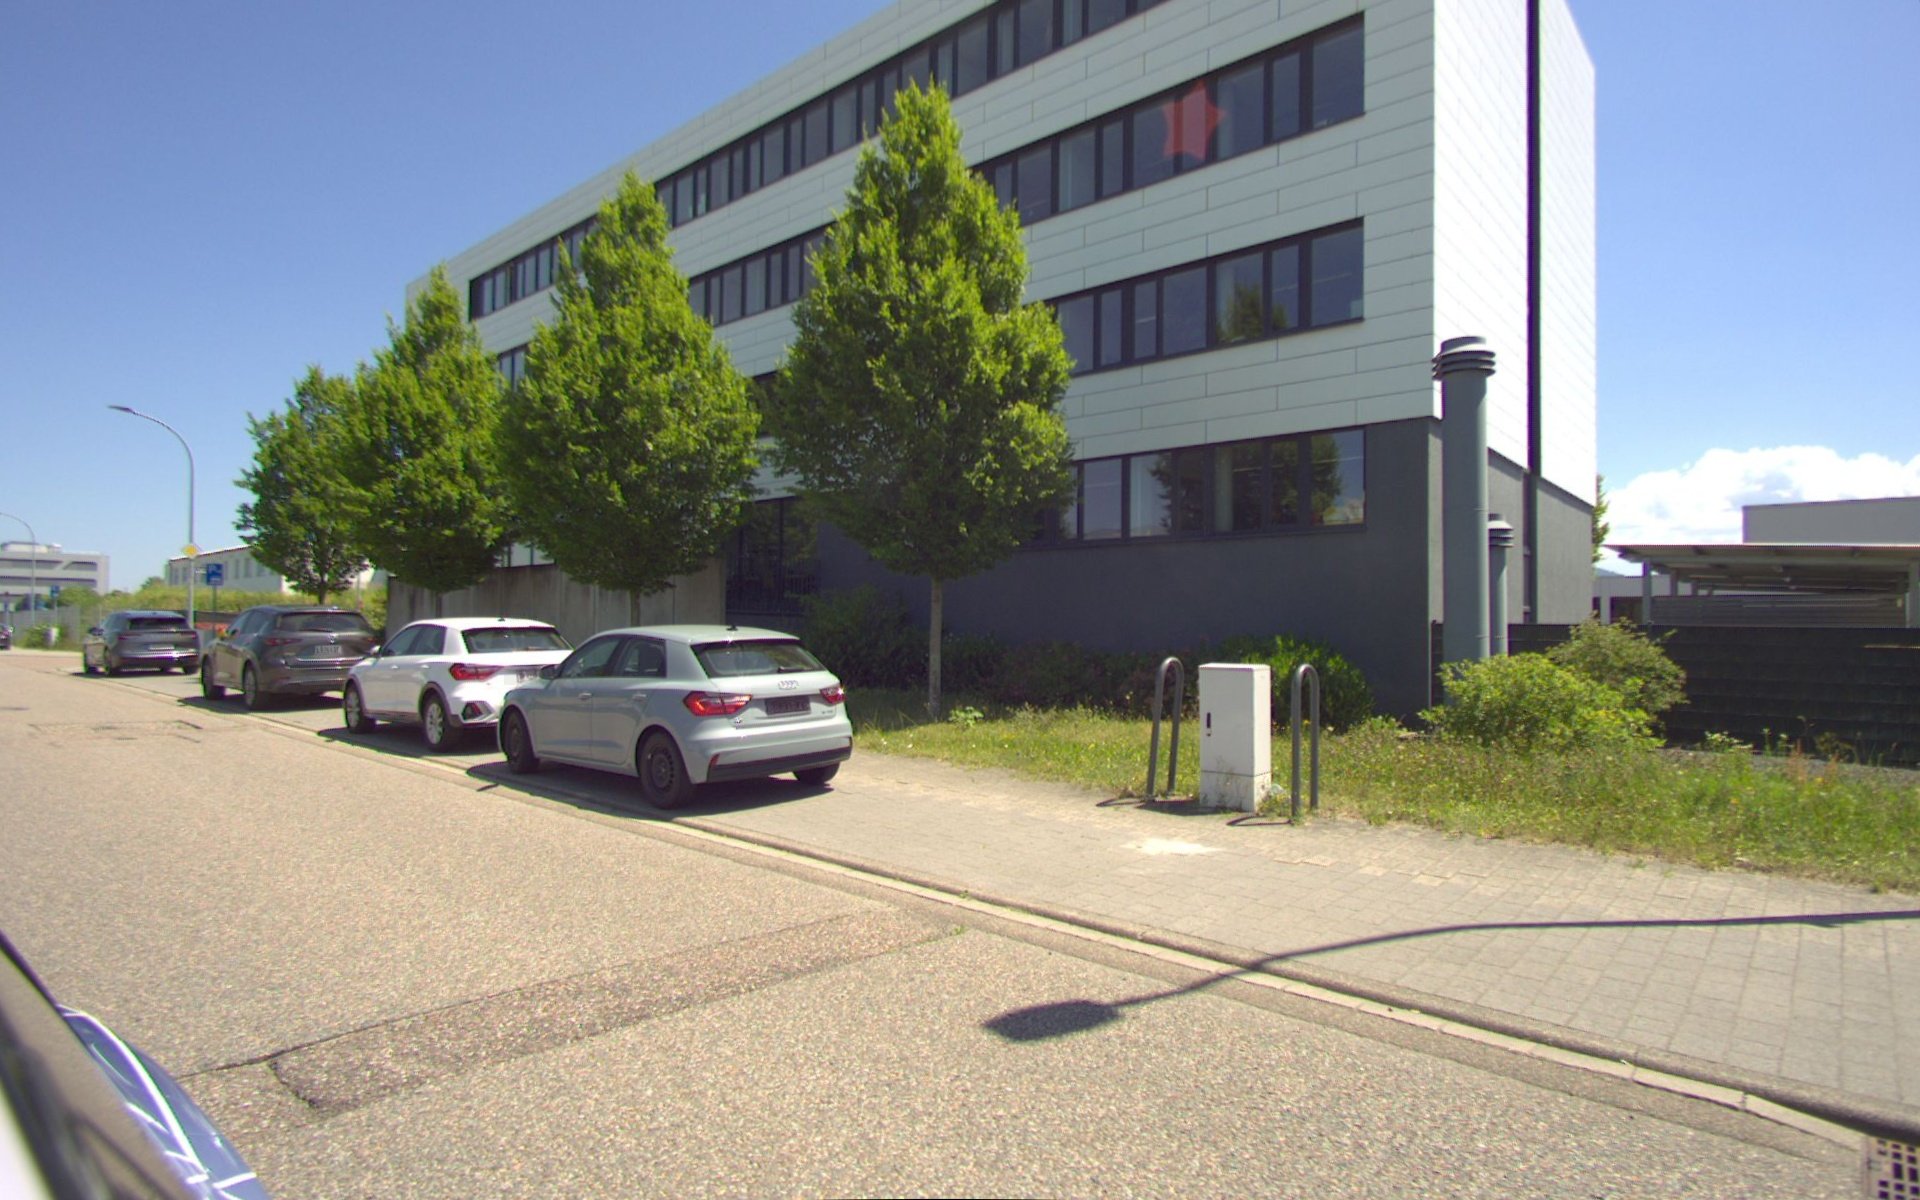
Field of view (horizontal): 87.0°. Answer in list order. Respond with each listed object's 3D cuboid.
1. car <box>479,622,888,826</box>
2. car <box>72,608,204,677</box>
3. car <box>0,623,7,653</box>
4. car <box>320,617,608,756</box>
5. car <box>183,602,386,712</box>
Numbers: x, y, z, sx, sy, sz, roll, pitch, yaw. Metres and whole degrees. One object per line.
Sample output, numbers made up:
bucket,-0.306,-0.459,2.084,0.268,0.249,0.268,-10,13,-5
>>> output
car,-2.651,0.932,9.233,3.939,1.442,1.752,-1,-1,42
car,-21.019,1.068,25.817,4.477,1.600,1.753,-2,-2,40
car,-50.480,1.940,52.132,4.067,1.461,1.656,-1,-2,42
car,-6.272,0.948,12.589,4.199,1.442,1.752,-1,-2,42
car,-11.573,0.890,17.207,4.580,1.636,1.752,-1,-2,42
